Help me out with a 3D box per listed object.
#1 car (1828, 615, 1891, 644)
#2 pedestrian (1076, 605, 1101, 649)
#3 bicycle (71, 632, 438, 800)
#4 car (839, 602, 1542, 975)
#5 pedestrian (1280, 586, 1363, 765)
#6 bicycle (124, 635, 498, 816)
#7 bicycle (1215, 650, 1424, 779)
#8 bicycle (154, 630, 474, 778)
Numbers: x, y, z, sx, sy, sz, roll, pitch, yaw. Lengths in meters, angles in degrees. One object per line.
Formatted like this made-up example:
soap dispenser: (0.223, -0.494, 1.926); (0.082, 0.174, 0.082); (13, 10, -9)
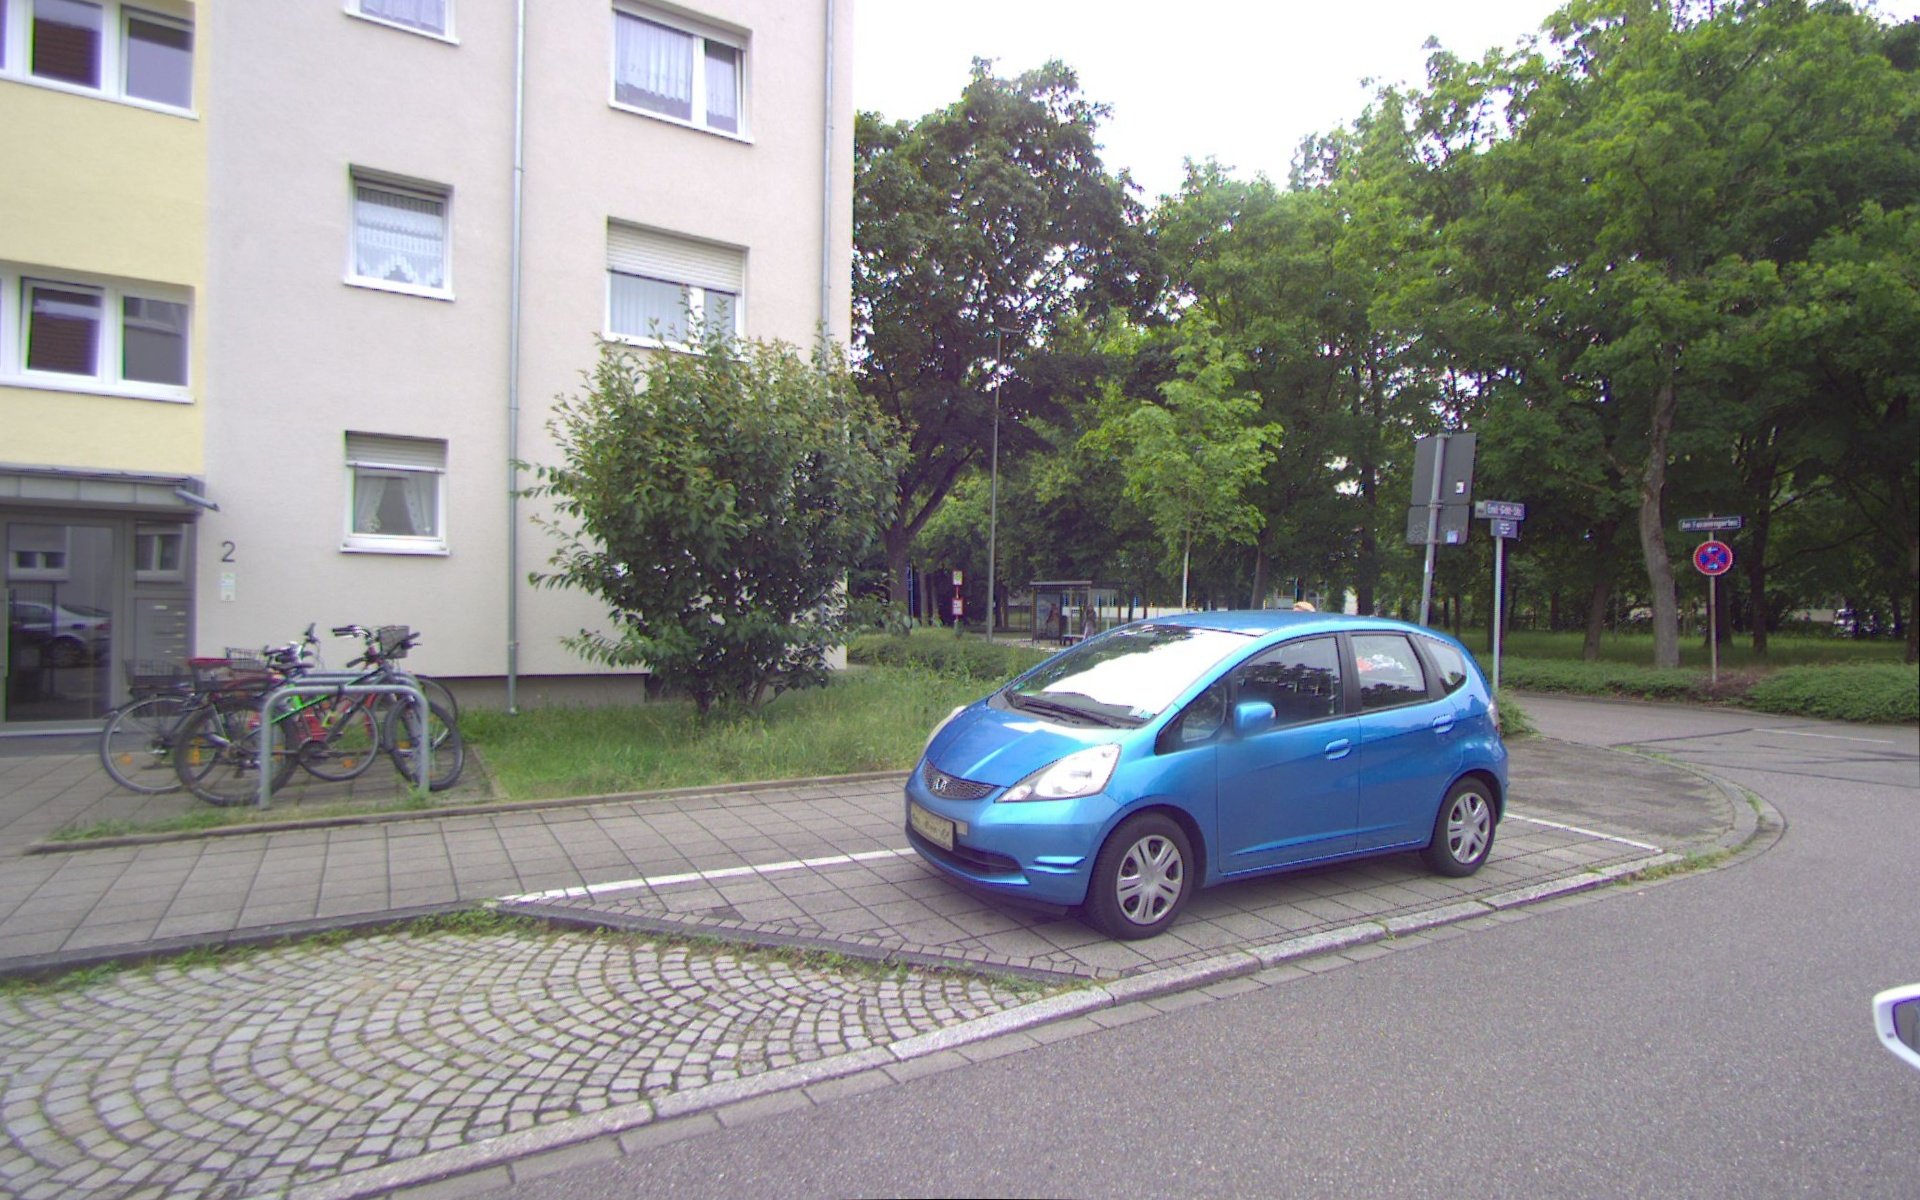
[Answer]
car: (53.294, 1.714, 59.475); (3.959, 1.639, 1.905); (1, -1, -34)
pedestrian: (4.750, 1.007, 37.178); (0.648, 1.604, 0.693); (0, 0, -29)
bicycle: (-5.113, 0.793, 7.475); (2.149, 1.085, 0.654); (1, 0, -30)
car: (1.443, 0.815, 5.907); (3.911, 1.482, 1.721); (1, 2, -31)
pedestrian: (3.285, 0.667, 9.158); (0.556, 1.571, 0.448); (2, 2, 5)
bicycle: (-4.409, 0.805, 7.012); (2.097, 1.082, 0.654); (1, 0, -30)
bicycle: (3.370, 1.063, 9.523); (1.781, 1.134, 0.538); (0, 0, 6)
bicycle: (-5.255, 0.802, 8.341); (2.149, 1.085, 0.654); (1, 0, -30)
